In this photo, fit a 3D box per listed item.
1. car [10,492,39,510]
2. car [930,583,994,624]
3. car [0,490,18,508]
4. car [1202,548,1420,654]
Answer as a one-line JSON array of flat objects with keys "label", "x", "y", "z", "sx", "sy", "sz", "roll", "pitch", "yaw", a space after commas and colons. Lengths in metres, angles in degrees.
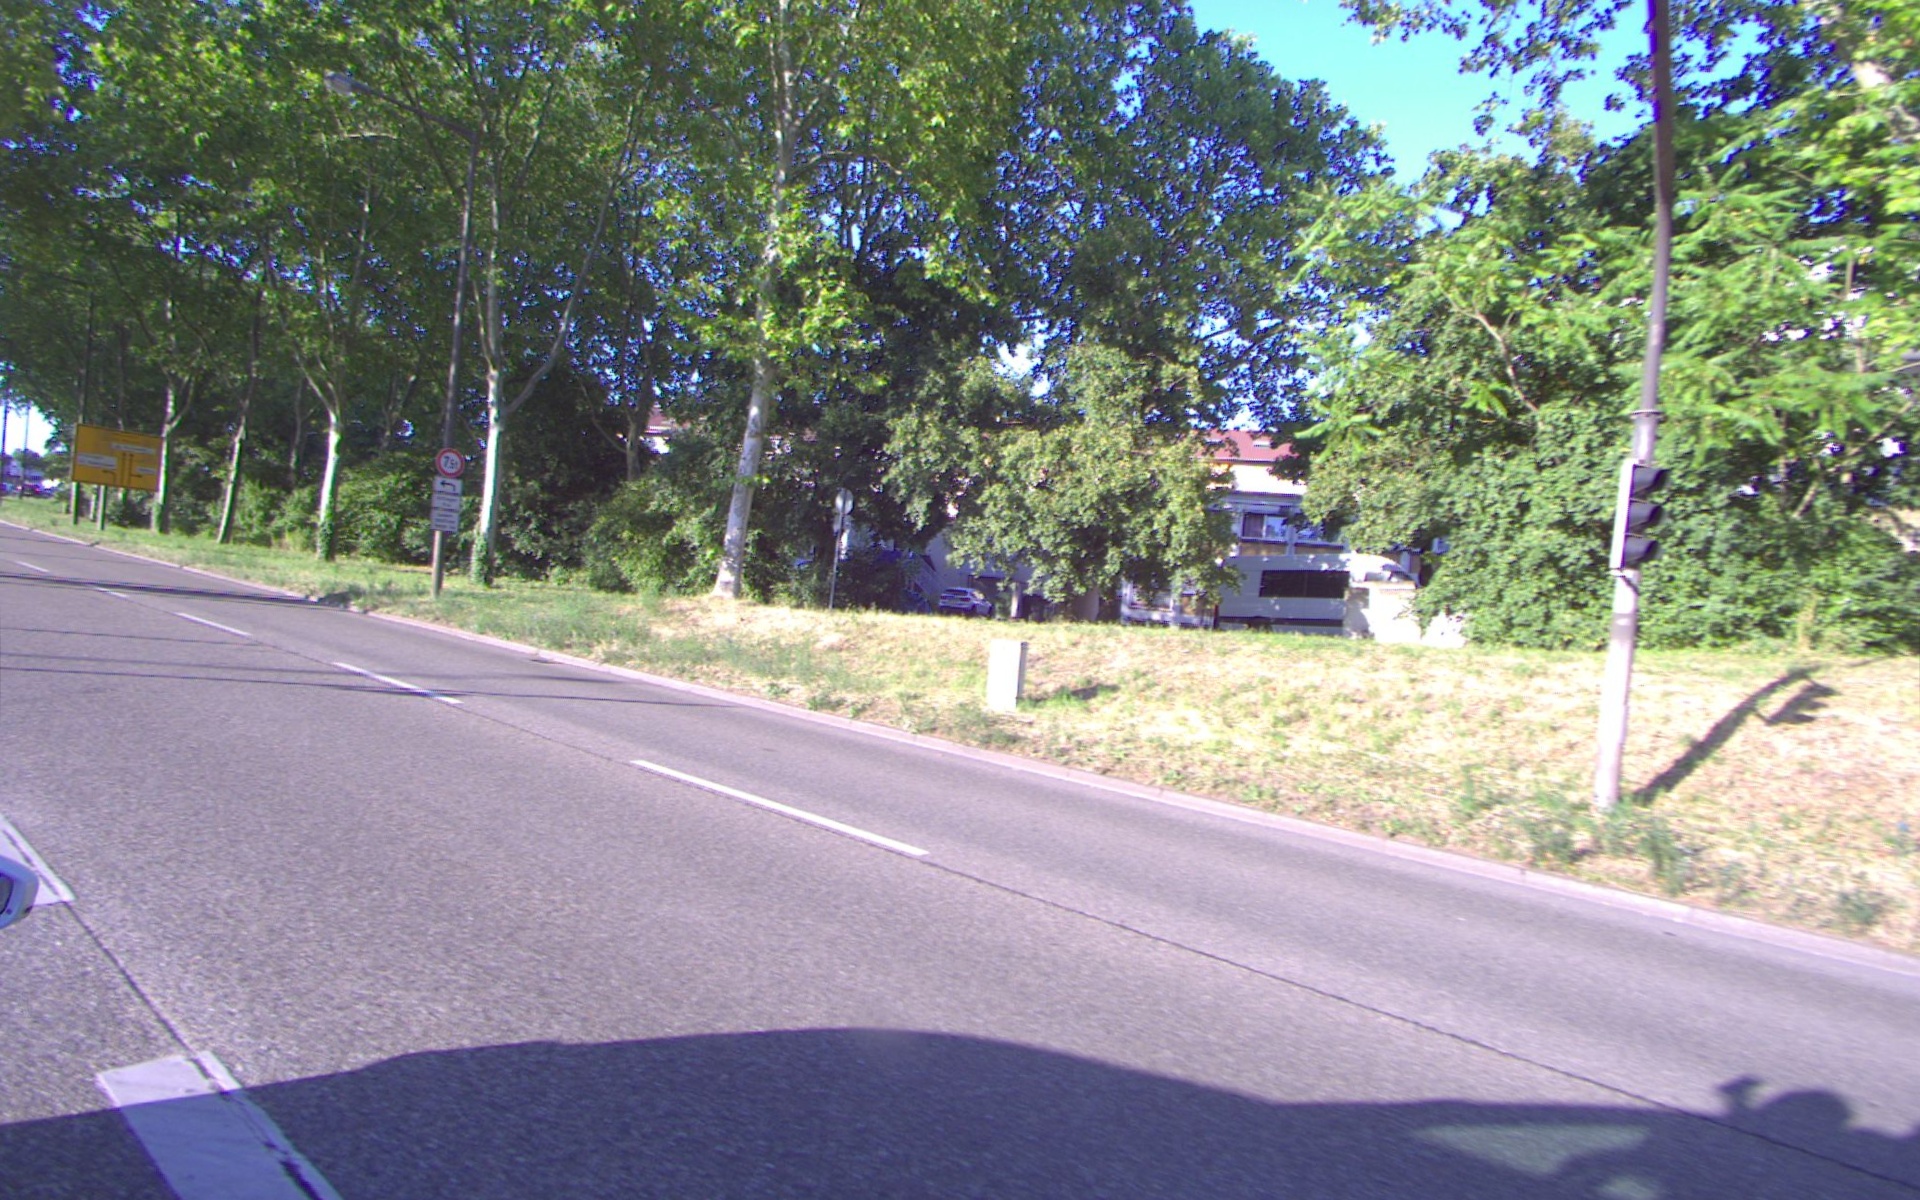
[{"label": "car", "x": -93.472, "y": -9.867, "z": 100.516, "sx": 1.987, "sy": 1.457, "sz": 3.951, "roll": 7, "pitch": 0, "yaw": -44}, {"label": "car", "x": 0.165, "y": 0.219, "z": 52.707, "sx": 1.883, "sy": 1.726, "sz": 4.000, "roll": 6, "pitch": -1, "yaw": 21}, {"label": "car", "x": -87.782, "y": -9.320, "z": 91.441, "sx": 1.976, "sy": 1.460, "sz": 3.974, "roll": 7, "pitch": 0, "yaw": -27}, {"label": "car", "x": 10.101, "y": -0.035, "z": 29.353, "sx": 5.552, "sy": 2.544, "sz": 1.797, "roll": 6, "pitch": 0, "yaw": 43}]
